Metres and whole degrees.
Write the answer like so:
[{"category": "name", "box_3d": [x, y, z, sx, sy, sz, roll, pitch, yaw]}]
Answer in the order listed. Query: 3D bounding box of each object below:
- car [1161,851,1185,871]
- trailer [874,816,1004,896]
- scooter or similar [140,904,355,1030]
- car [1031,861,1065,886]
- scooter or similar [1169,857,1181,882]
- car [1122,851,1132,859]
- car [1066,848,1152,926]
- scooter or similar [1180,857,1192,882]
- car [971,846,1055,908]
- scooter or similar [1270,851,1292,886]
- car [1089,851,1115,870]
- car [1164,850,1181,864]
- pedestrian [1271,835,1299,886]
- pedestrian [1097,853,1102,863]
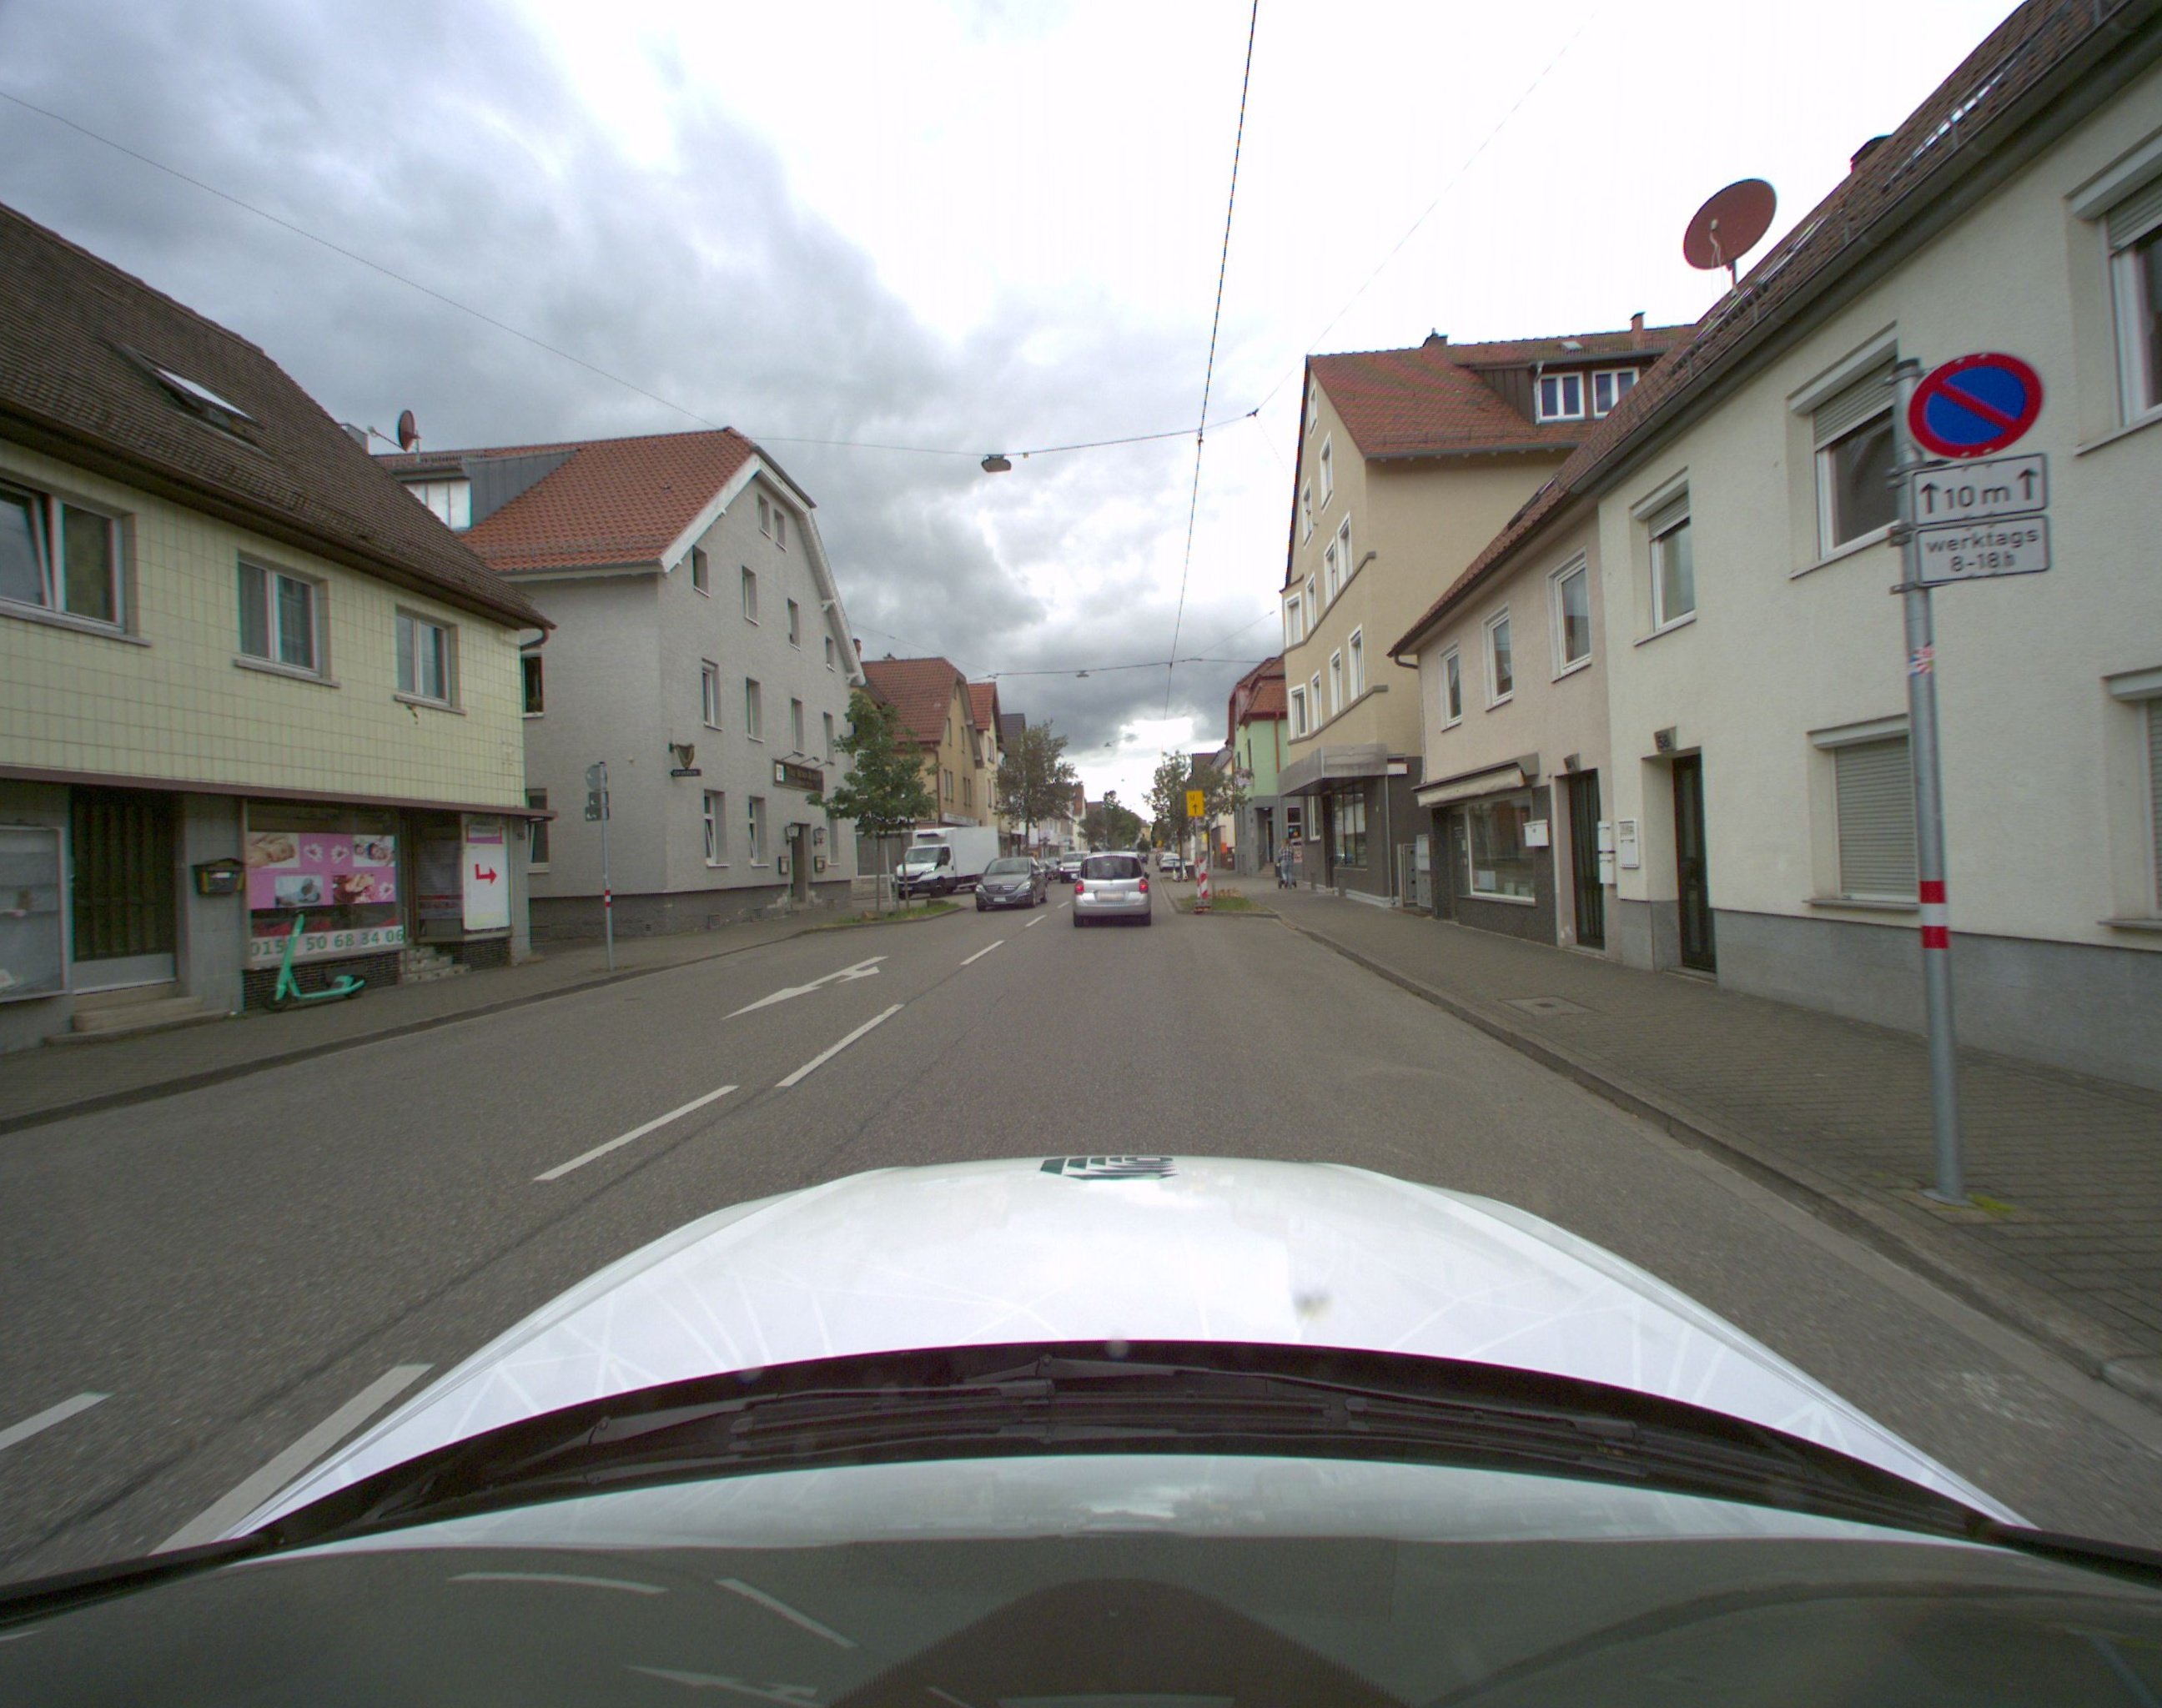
[{"category": "car", "box_3d": [7.182, 0.540, 64.011, 1.822, 1.445, 4.338, -1, 0, 6]}, {"category": "trailer", "box_3d": [-6.148, 0.103, 36.603, 2.482, 3.219, 7.171, -1, 0, 20]}, {"category": "scooter or similar", "box_3d": [-9.211, 1.200, 9.106, 0.525, 1.170, 1.724, -1, 0, 5]}, {"category": "car", "box_3d": [-2.053, 1.228, 51.865, 1.675, 1.424, 3.935, -4, 0, 4]}, {"category": "scooter or similar", "box_3d": [4.766, 0.770, 41.239, 0.499, 1.235, 1.944, -1, 0, 4]}, {"category": "car", "box_3d": [10.533, 0.262, 185.214, 1.891, 1.737, 4.373, -4, 0, 6]}, {"category": "car", "box_3d": [0.730, 0.671, 18.561, 1.674, 1.566, 3.999, -1, 0, 6]}, {"category": "scooter or similar", "box_3d": [5.297, 0.759, 41.208, 0.499, 1.235, 1.944, -1, 0, 4]}, {"category": "car", "box_3d": [-2.134, 0.715, 26.864, 1.984, 1.796, 4.283, -3, 0, 5]}, {"category": "scooter or similar", "box_3d": [7.110, 0.513, 28.966, 0.587, 1.233, 0.892, -1, 0, 4]}, {"category": "car", "box_3d": [1.807, 0.566, 69.589, 1.834, 1.433, 4.550, -3, 0, 5]}, {"category": "car", "box_3d": [10.009, 0.292, 89.511, 1.822, 1.497, 3.999, -1, 0, 6]}, {"category": "pedestrian", "box_3d": [7.018, 0.233, 28.055, 0.747, 1.720, 0.901, -1, 0, 5]}, {"category": "pedestrian", "box_3d": [3.267, 0.697, 140.472, 0.759, 1.791, 0.891, -1, -1, 5]}]
